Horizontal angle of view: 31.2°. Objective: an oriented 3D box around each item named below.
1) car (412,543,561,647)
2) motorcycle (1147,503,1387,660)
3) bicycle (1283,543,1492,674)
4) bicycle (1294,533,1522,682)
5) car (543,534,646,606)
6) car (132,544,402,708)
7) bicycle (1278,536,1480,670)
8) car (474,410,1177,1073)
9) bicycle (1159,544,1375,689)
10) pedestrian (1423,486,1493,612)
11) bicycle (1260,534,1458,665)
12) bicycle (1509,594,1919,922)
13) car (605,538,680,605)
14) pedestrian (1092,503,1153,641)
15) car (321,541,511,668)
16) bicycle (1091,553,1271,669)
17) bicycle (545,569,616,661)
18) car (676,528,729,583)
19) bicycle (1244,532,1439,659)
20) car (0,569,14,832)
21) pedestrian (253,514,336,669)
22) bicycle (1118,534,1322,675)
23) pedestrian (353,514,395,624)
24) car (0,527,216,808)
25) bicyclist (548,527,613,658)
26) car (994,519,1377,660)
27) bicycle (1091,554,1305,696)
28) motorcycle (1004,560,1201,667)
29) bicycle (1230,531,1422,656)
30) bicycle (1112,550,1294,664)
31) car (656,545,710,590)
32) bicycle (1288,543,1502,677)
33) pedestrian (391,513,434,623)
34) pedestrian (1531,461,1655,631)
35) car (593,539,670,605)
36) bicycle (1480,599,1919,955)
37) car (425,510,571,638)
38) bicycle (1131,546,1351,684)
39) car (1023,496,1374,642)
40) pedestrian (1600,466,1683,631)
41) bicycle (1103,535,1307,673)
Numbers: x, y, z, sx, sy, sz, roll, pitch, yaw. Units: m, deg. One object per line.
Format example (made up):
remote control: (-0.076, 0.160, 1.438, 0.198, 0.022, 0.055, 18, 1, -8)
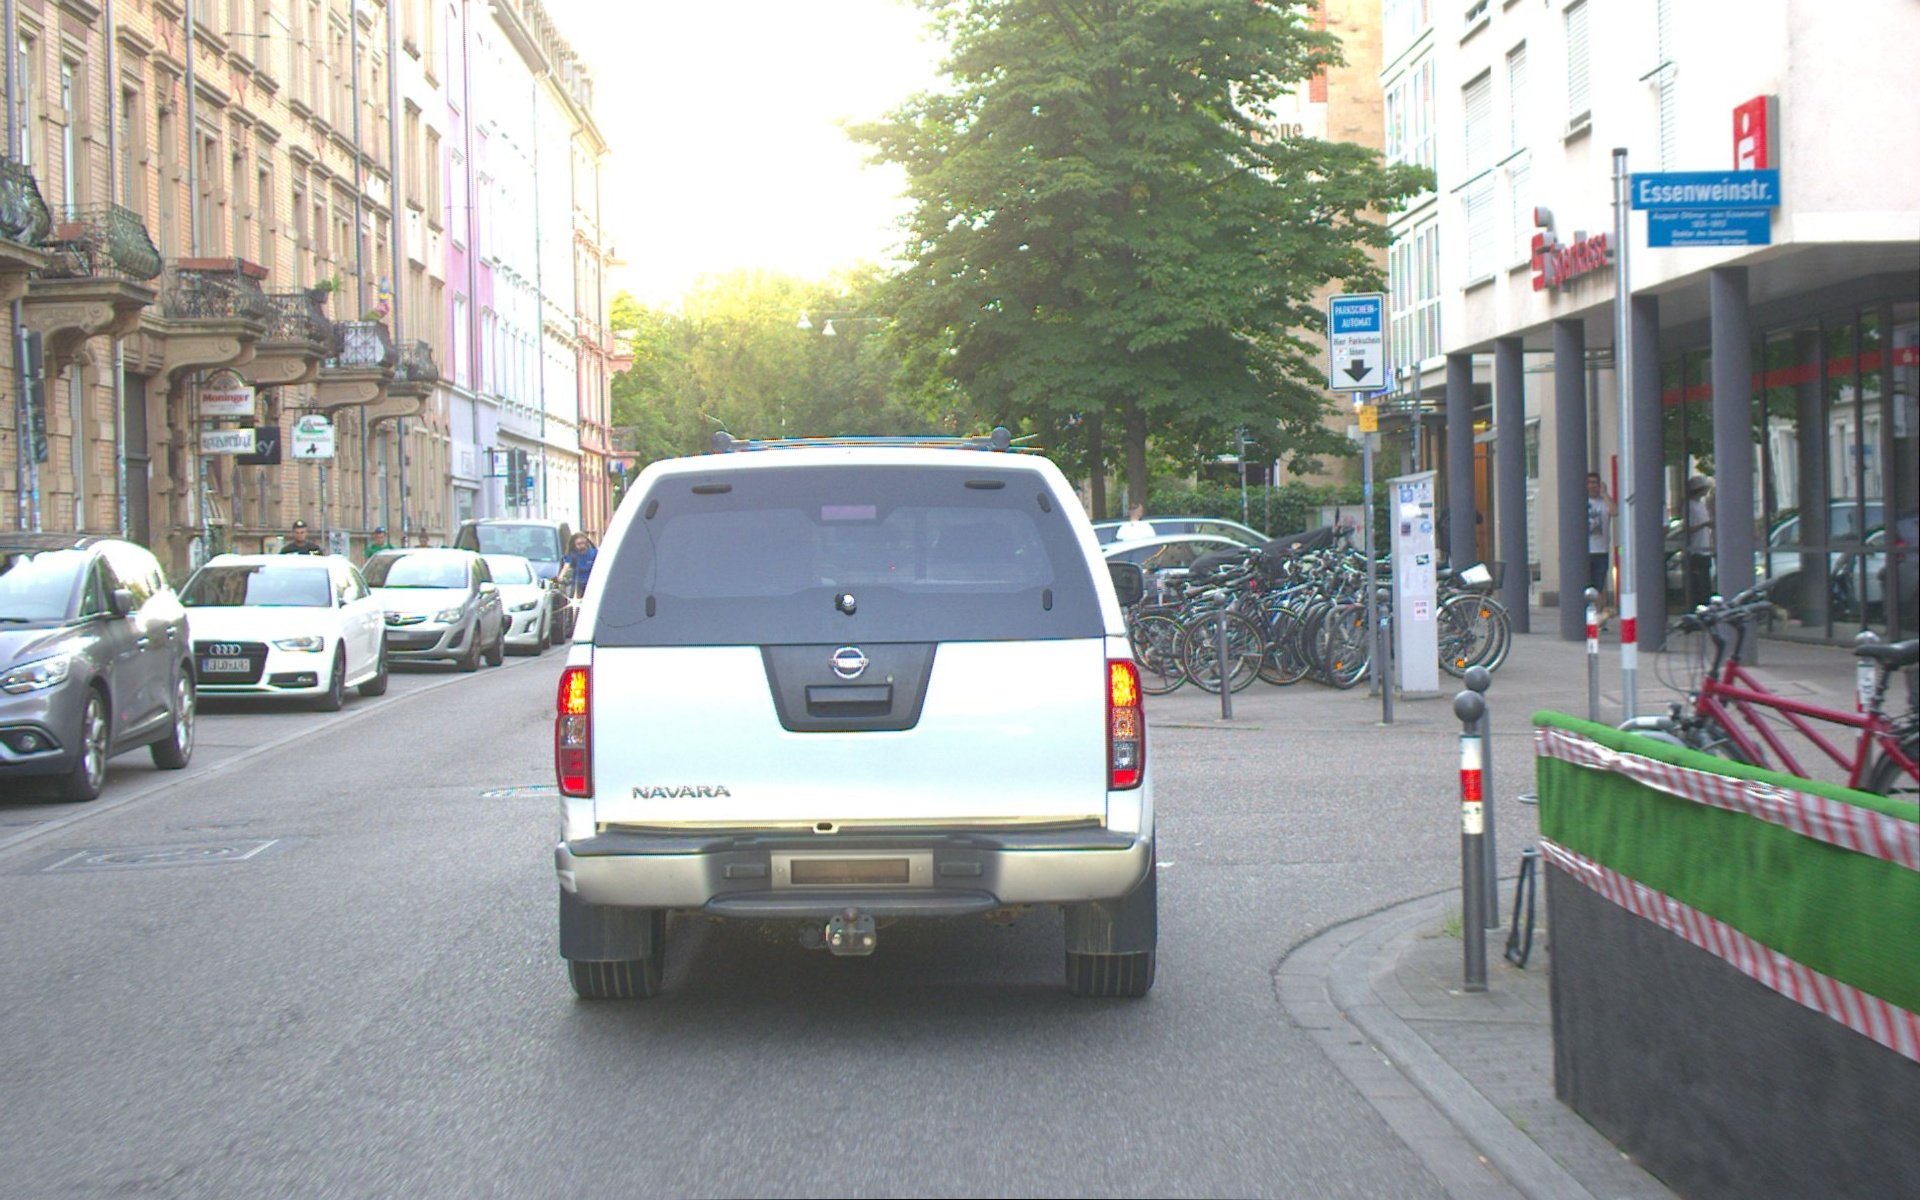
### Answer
car: (-6.836, -0.108, 50.018, 1.783, 1.418, 4.486, 1, 1, -3)
motorcycle: (3.364, -0.204, 37.799, 2.492, 1.544, 0.824, -4, 0, 2)
bicycle: (3.752, 0.069, 30.276, 1.722, 1.050, 0.653, -3, 0, 2)
bicycle: (3.722, 0.056, 28.577, 1.722, 1.128, 0.579, -3, 0, -13)
car: (-7.799, -0.649, 73.656, 1.834, 1.453, 4.207, 1, 1, -1)
car: (-6.511, 0.189, 32.737, 1.758, 1.407, 4.509, 0, 1, -1)
bicycle: (3.824, 0.020, 31.435, 1.722, 1.114, 0.653, -3, 0, 2)
car: (-0.221, 0.332, 12.288, 1.911, 1.847, 5.270, 0, 1, 4)
bicycle: (2.576, 0.133, 28.982, 1.722, 1.114, 0.707, -3, 0, 2)
pedestrian: (6.954, -0.709, 48.064, 0.727, 1.710, 0.963, -3, 0, -1)
bicycle: (3.702, -0.006, 32.002, 1.722, 1.114, 0.653, -3, 0, 2)
bicycle: (3.074, 0.571, 12.626, 1.942, 1.131, 0.656, -3, 1, 36)
car: (-8.215, -0.745, 89.211, 1.844, 1.653, 4.253, -2, 1, -4)
pedestrian: (2.079, -0.352, 43.970, 0.625, 1.747, 0.588, -1, 0, -13)
car: (-6.639, 0.015, 42.308, 1.717, 1.452, 4.000, 0, 1, 0)
bicycle: (2.241, 0.106, 35.016, 1.719, 1.028, 0.667, -5, 0, 2)
bicycle: (-4.805, 0.181, 43.656, 0.645, 1.077, 2.169, -3, 1, -1)
car: (-9.414, -1.640, 125.526, 1.810, 1.970, 4.187, 0, 1, -6)
bicycle: (3.663, -0.046, 33.084, 1.722, 1.114, 0.654, -3, 0, -4)
car: (-5.975, 0.591, 17.033, 1.585, 1.416, 3.697, 0, 1, -1)
pedestrian: (-7.642, -0.094, 39.502, 0.554, 1.749, 1.022, -1, 0, 12)
bicycle: (2.482, 0.036, 32.794, 1.789, 1.178, 0.733, -5, 0, 9)
pedestrian: (-9.609, -0.513, 56.393, 0.580, 1.765, 0.998, 1, 2, -5)
car: (-6.201, 0.354, 22.359, 1.853, 1.628, 4.446, 0, 1, -1)
bicyclist: (-4.817, -0.101, 43.675, 0.645, 1.615, 0.918, -3, 1, -1)
car: (2.772, -0.148, 42.799, 4.422, 1.450, 1.780, -3, 1, -7)
bicycle: (2.054, 0.210, 29.835, 1.722, 1.114, 0.707, -3, 0, -3)
motorcycle: (1.606, 0.146, 38.676, 2.057, 1.074, 0.664, -4, 1, -16)
bicycle: (3.591, -0.065, 33.804, 1.722, 1.114, 0.654, -3, 0, -4)
bicycle: (2.508, 0.073, 35.628, 1.772, 1.019, 0.565, -5, 0, 2)
car: (-8.973, -1.060, 111.459, 1.698, 1.421, 4.023, 0, 1, -4)
bicycle: (3.733, 0.083, 29.604, 1.722, 1.050, 0.653, -3, 0, 2)
pedestrian: (-9.014, -0.532, 56.645, 0.605, 1.766, 0.777, 1, 2, -5)
pedestrian: (6.619, -0.563, 35.945, 0.774, 1.717, 0.913, -6, 4, -44)
car: (-7.904, -0.691, 82.916, 1.636, 1.560, 3.782, 0, 1, -2)
bicycle: (2.819, 0.589, 11.679, 1.942, 1.131, 0.656, -3, 1, 36)
car: (-7.343, -0.441, 55.038, 1.993, 1.917, 4.952, 1, 1, -4)
bicycle: (2.494, 0.129, 30.631, 1.809, 1.114, 0.707, -3, 0, -3)
car: (3.114, -0.423, 45.493, 4.398, 1.642, 1.746, -3, 1, -2)
pedestrian: (7.269, -0.549, 36.657, 0.663, 1.717, 0.662, -1, 3, 26)
bicycle: (2.393, 0.037, 33.635, 1.869, 1.178, 0.743, -5, 0, 4)
